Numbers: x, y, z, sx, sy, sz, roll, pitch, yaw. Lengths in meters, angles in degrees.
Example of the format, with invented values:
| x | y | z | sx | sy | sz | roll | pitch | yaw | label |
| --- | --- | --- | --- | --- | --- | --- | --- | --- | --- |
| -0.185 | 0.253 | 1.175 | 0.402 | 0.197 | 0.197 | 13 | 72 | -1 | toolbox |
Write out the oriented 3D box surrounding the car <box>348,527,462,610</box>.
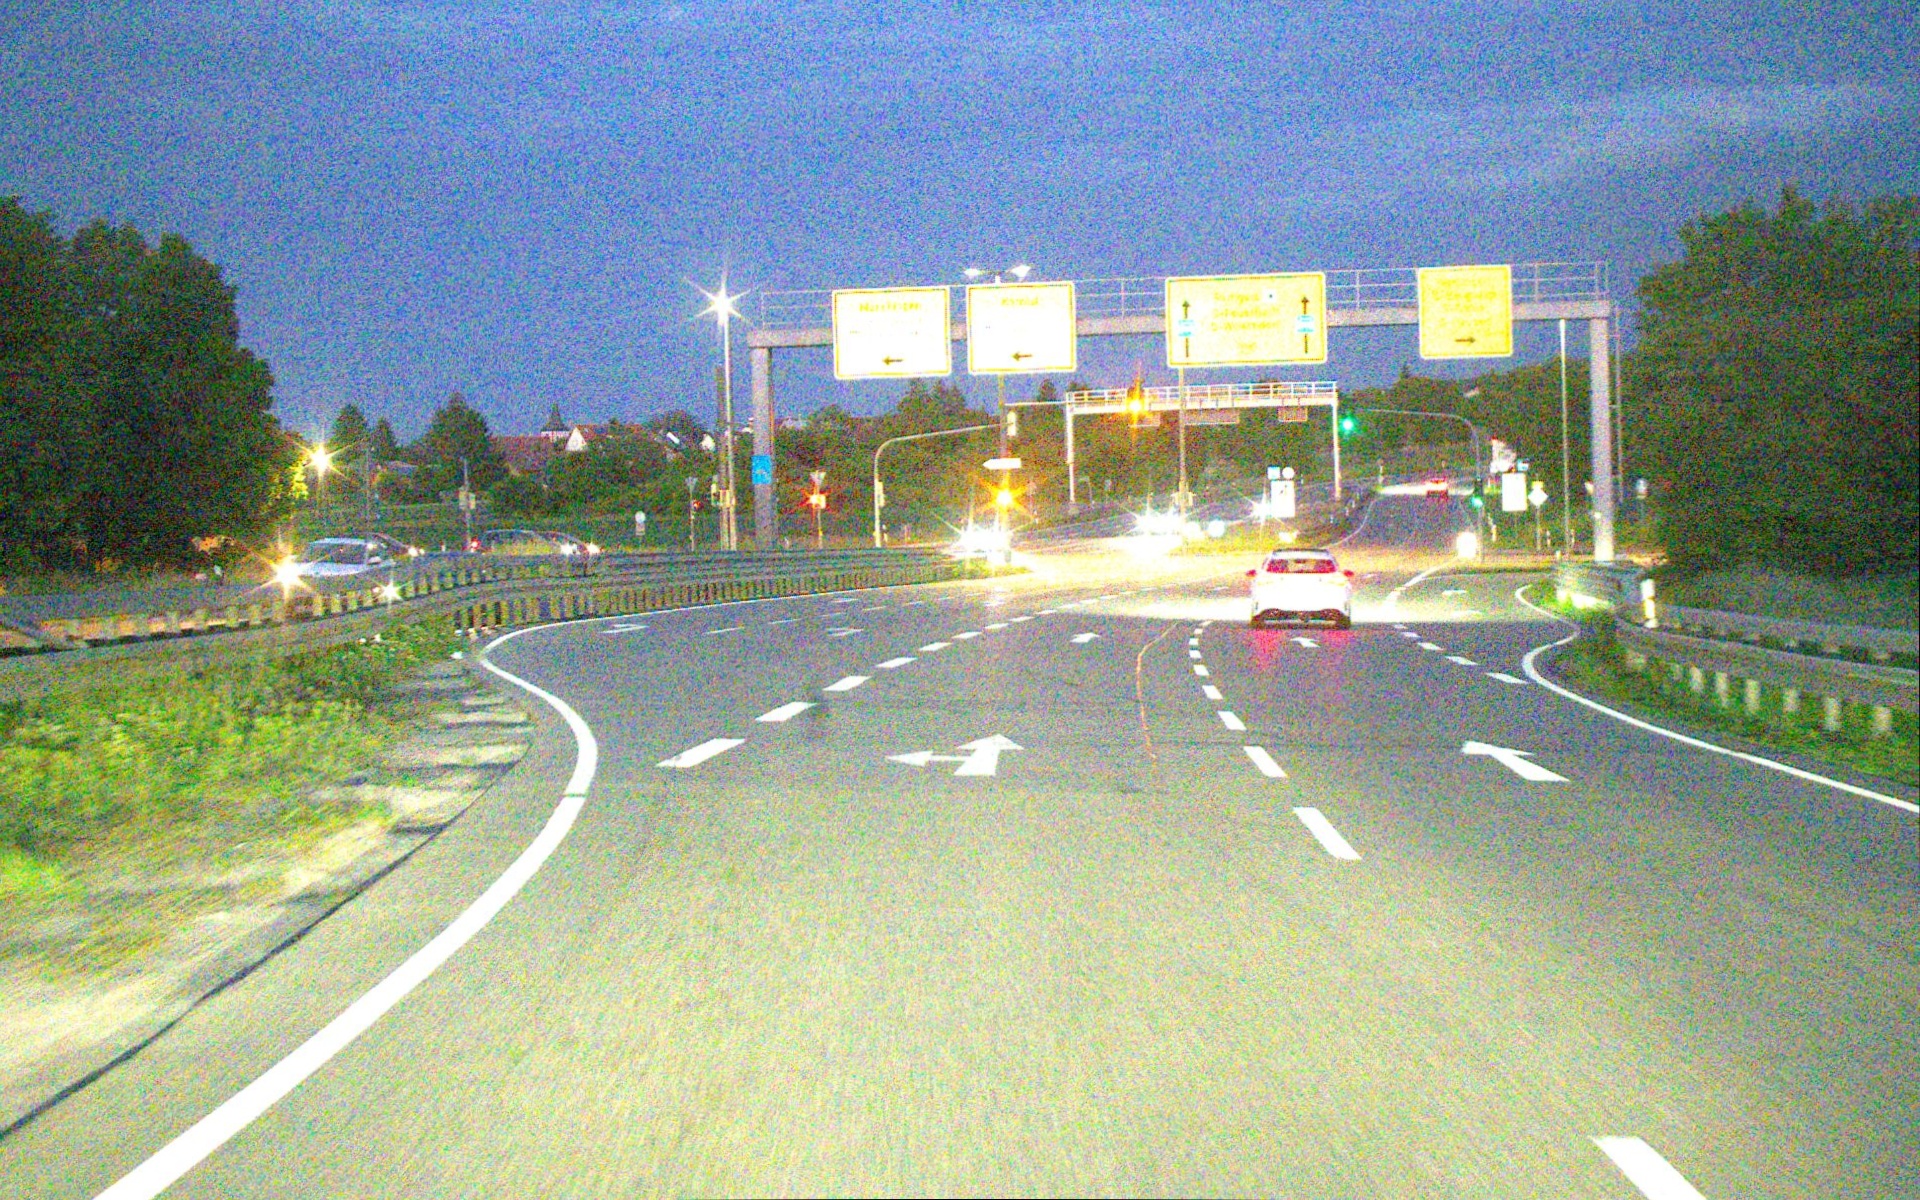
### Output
| x | y | z | sx | sy | sz | roll | pitch | yaw | label |
| --- | --- | --- | --- | --- | --- | --- | --- | --- | --- |
| -10.724 | -0.638 | 66.639 | 1.692 | 1.528 | 4.001 | 0 | 2 | -2 | car |

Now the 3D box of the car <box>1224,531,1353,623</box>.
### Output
| x | y | z | sx | sy | sz | roll | pitch | yaw | label |
| --- | --- | --- | --- | --- | --- | --- | --- | --- | --- |
| 5.958 | -0.447 | 62.707 | 2.007 | 1.605 | 3.845 | -1 | 1 | 1 | car |

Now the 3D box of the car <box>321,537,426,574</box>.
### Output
| x | y | z | sx | sy | sz | roll | pitch | yaw | label |
| --- | --- | --- | --- | --- | --- | --- | --- | --- | --- |
| -24.478 | -1.877 | 143.442 | 3.987 | 1.468 | 1.729 | -1 | 1 | 5 | car |

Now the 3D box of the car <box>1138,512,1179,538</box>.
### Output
| x | y | z | sx | sy | sz | roll | pitch | yaw | label |
| --- | --- | --- | --- | --- | --- | --- | --- | --- | --- |
| 11.989 | -4.540 | 207.766 | 1.994 | 1.476 | 4.680 | 0 | 2 | 9 | car |

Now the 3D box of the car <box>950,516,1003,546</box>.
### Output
| x | y | z | sx | sy | sz | roll | pitch | yaw | label |
| --- | --- | --- | --- | --- | --- | --- | --- | --- | --- |
| 0.835 | -3.429 | 171.055 | 1.994 | 1.420 | 4.531 | 0 | 2 | 9 | car |

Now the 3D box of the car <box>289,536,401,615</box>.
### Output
| x | y | z | sx | sy | sz | roll | pitch | yaw | label |
| --- | --- | --- | --- | --- | --- | --- | --- | --- | --- |
| -13.232 | -0.552 | 74.141 | 1.701 | 1.617 | 4.307 | 0 | 1 | -1 | car |
